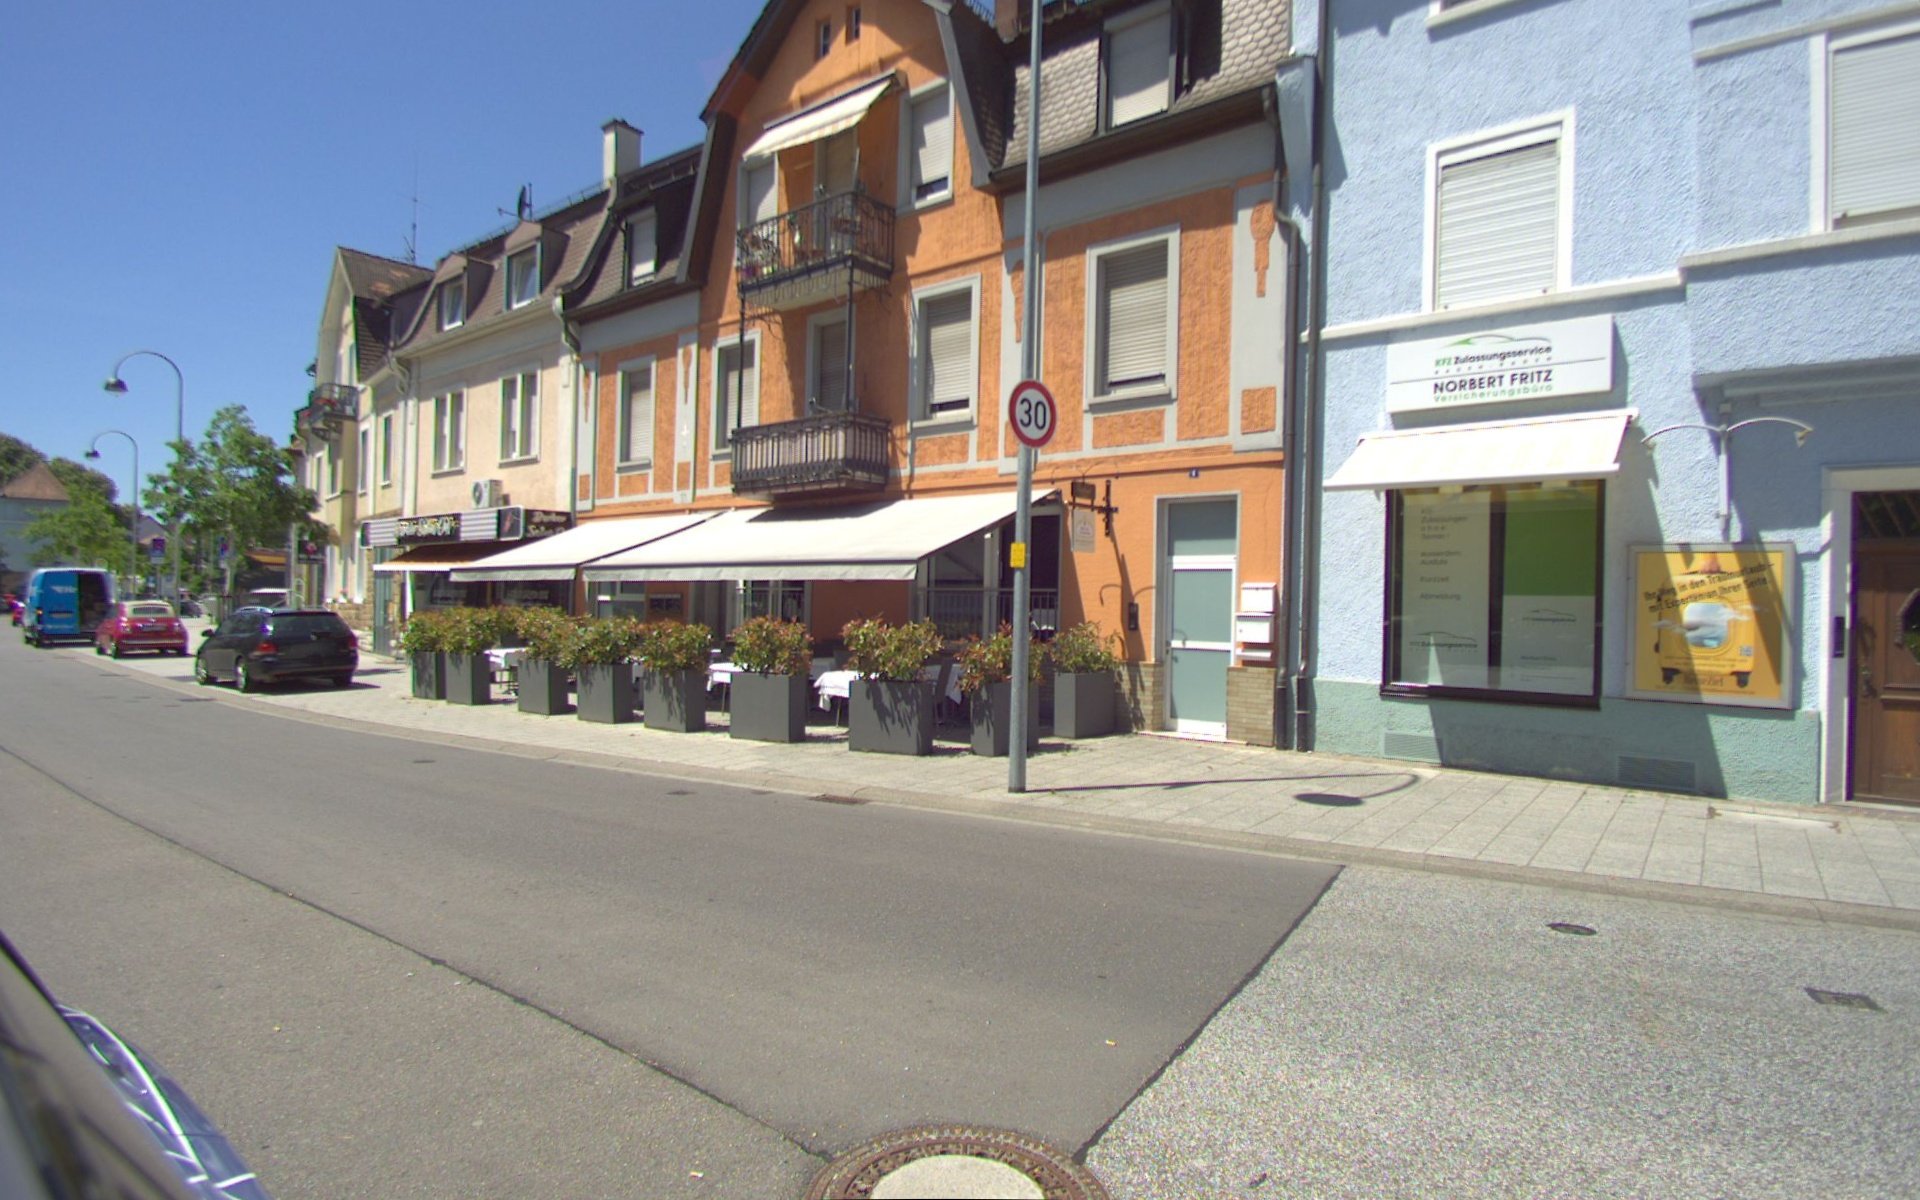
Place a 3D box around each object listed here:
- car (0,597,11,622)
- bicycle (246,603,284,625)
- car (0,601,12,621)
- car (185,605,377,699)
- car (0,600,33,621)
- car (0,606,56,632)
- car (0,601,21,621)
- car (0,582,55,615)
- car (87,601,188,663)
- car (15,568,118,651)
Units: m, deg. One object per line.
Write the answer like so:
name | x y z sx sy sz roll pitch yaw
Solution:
car | -71.305 0.616 73.060 3.756 1.800 1.845 3 -1 -33
bicycle | -40.411 0.812 58.821 1.742 1.244 0.617 3 -3 -37
car | -73.423 0.751 75.523 3.558 1.473 1.621 4 -2 -33
car | -12.804 0.875 18.975 4.334 1.493 1.896 0 1 41
car | -77.608 0.807 81.356 4.288 1.562 1.656 2 -1 -35
car | -53.681 1.097 58.185 1.889 1.437 3.991 2 -2 -32
car | -75.012 0.823 77.876 3.756 1.473 1.657 2 -1 -33
car | -83.504 -0.124 89.557 4.788 2.757 1.856 3 -1 -31
car | -22.659 0.826 27.841 3.513 1.532 1.544 1 0 40
car | -29.401 0.284 33.243 5.504 2.517 2.069 0 0 44
